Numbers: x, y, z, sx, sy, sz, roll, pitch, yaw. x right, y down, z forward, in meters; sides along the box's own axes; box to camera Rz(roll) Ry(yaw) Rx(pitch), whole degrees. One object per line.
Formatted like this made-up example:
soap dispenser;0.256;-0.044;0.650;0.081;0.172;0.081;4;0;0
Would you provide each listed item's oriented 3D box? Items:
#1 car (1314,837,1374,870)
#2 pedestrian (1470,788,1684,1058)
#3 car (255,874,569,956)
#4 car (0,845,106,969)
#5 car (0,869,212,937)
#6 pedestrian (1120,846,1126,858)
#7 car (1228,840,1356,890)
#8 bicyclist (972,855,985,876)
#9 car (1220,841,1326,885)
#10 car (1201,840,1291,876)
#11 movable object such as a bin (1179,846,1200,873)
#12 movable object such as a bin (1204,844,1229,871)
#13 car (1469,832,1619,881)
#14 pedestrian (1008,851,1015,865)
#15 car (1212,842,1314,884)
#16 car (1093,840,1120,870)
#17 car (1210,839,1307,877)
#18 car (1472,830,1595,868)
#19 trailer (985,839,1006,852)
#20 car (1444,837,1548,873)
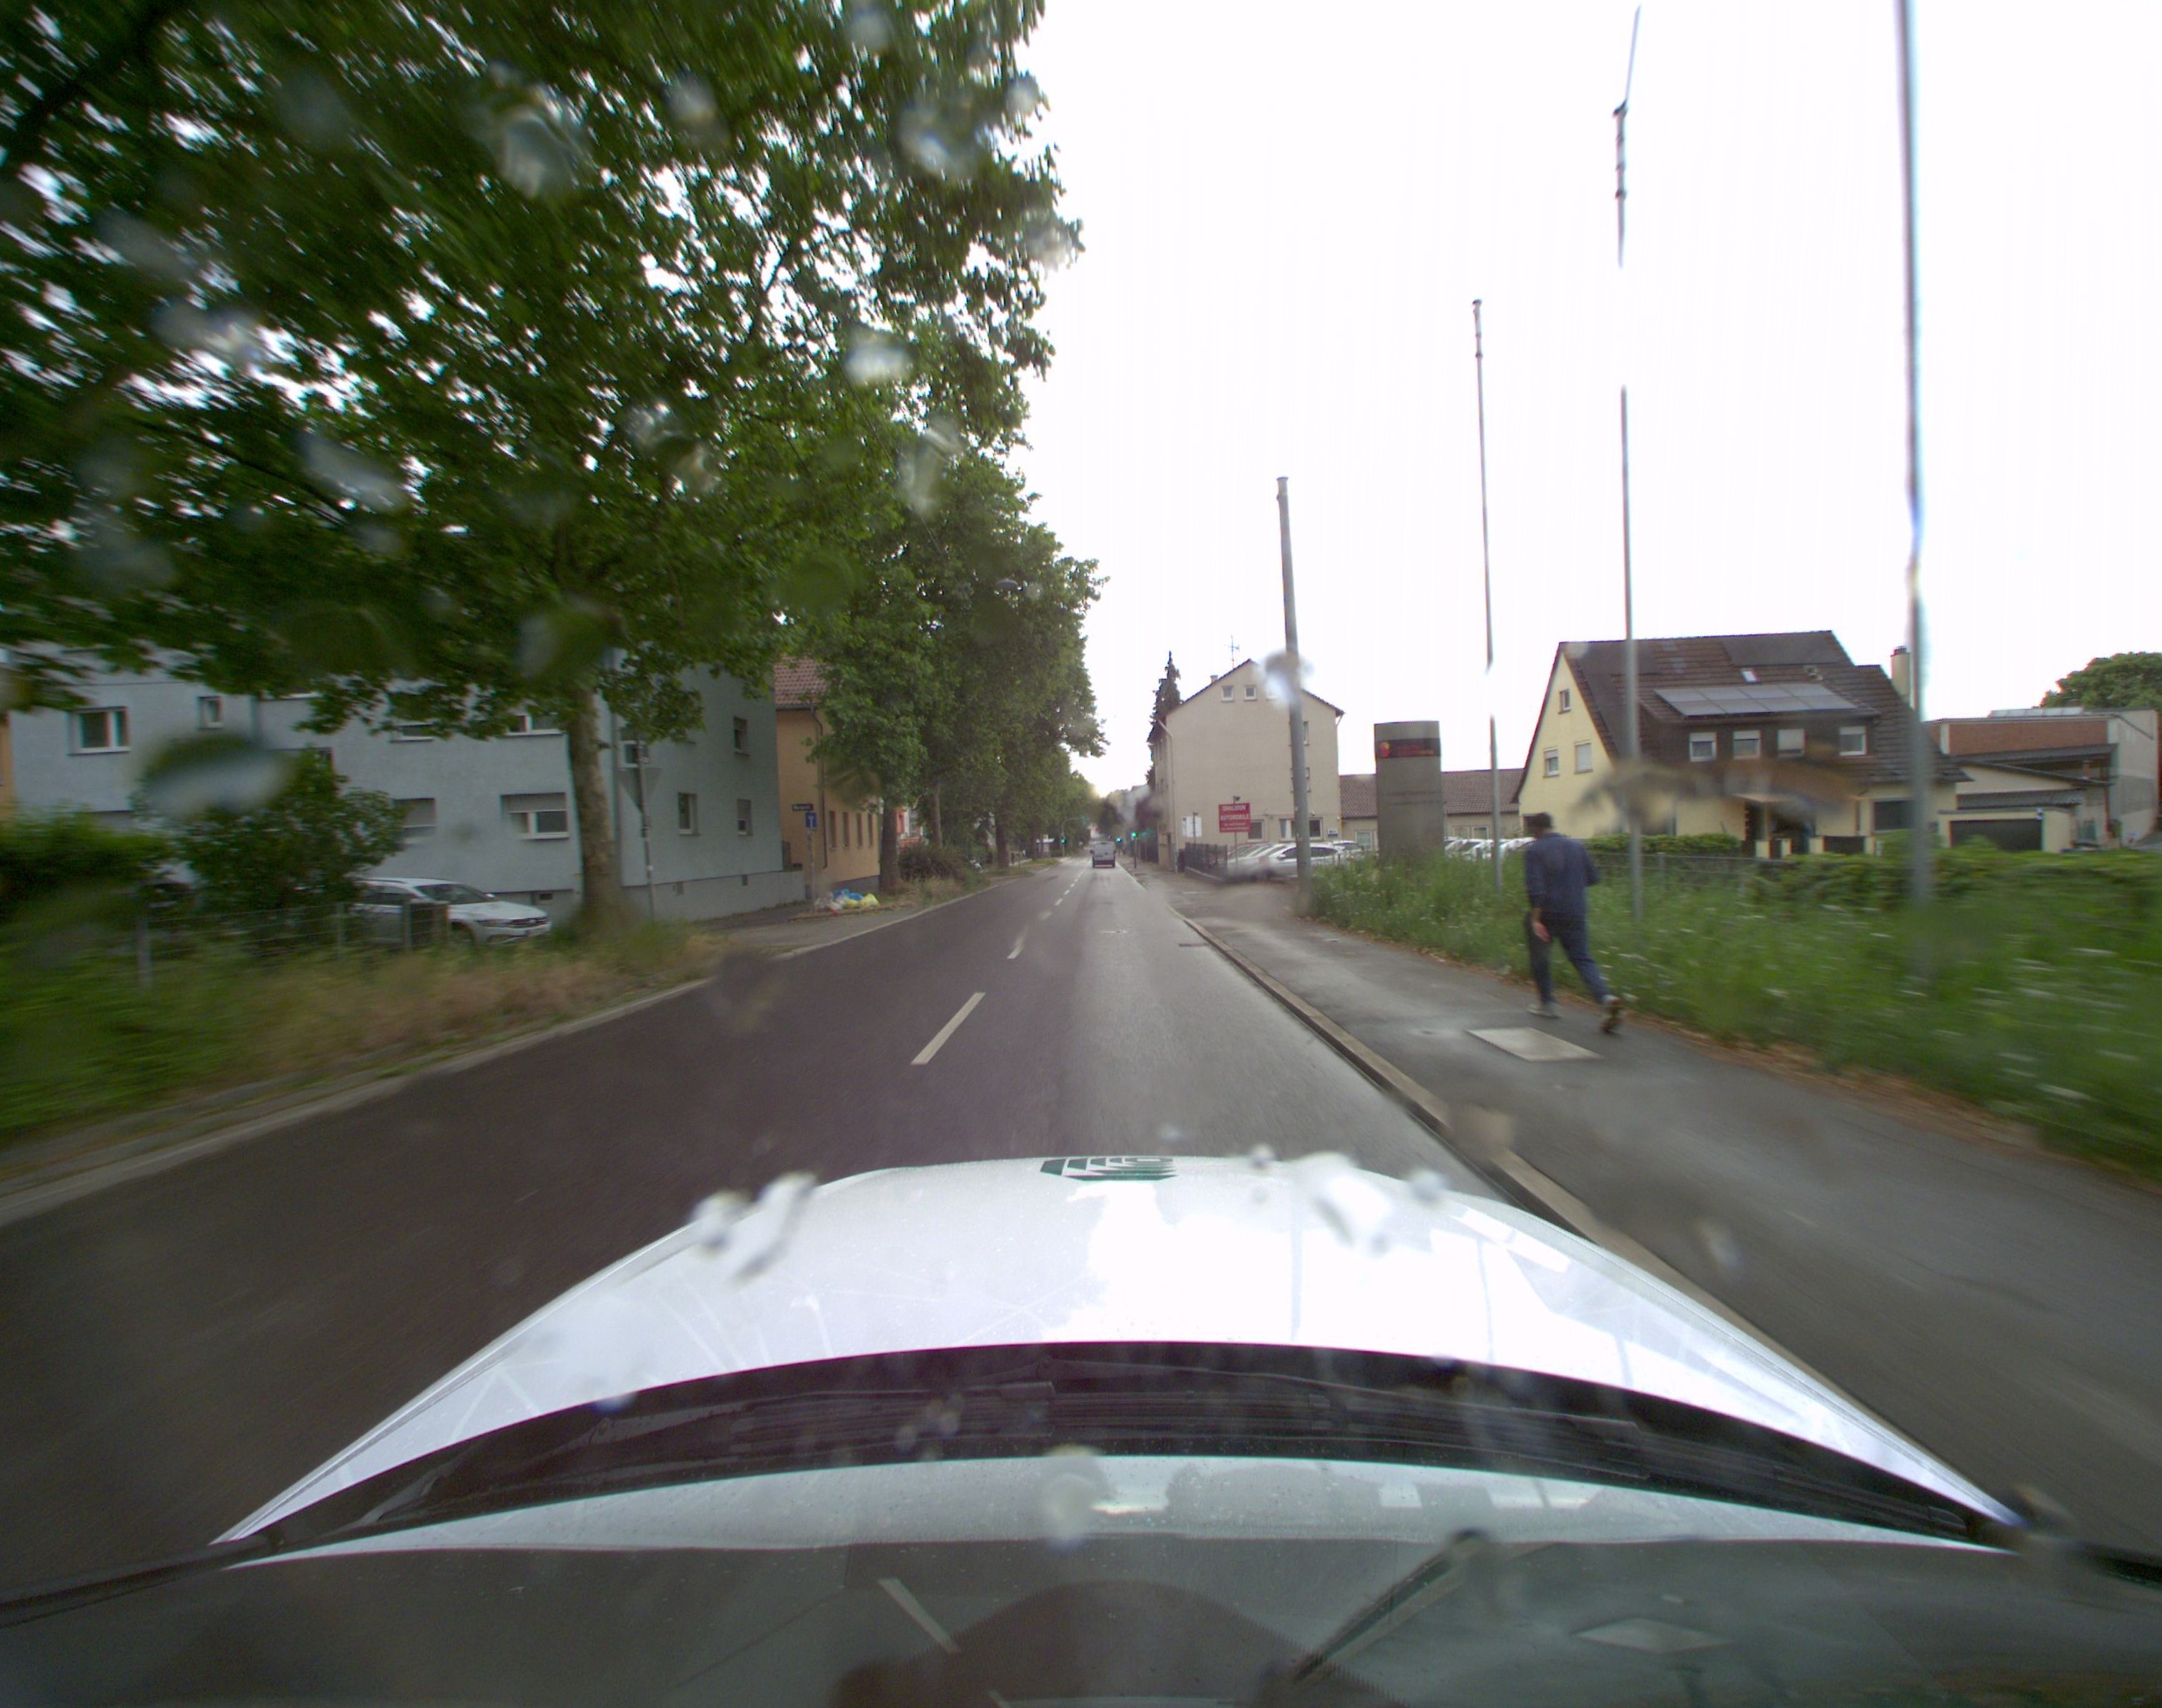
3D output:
car;12.792;0.021;39.872;1.802;1.530;3.628;0;-1;1
pedestrian;3.762;0.501;6.278;1.039;1.897;0.901;-2;-1;1
car;-13.065;1.159;16.129;4.646;1.477;1.870;0;-1;1
car;-17.801;0.816;11.681;1.875;1.920;4.560;0;-1;6
car;-23.340;1.134;19.546;3.148;1.461;1.618;0;2;1
pedestrian;6.313;-0.317;121.620;0.741;1.704;0.900;0;-1;-4
car;7.776;0.410;30.345;4.287;1.768;2.000;-1;-1;1
bicyclist;-7.544;0.844;59.948;0.830;1.553;0.817;0;-1;0
car;7.734;0.371;33.038;3.934;1.724;1.791;0;0;1
car;8.296;0.216;41.302;4.213;1.736;1.870;0;-1;1
movable object such as a bin;6.569;0.337;49.333;1.106;1.509;0.987;-4;-1;0
movable object such as a bin;8.169;0.230;49.184;1.230;1.509;1.111;-4;-1;0
car;17.159;0.077;30.343;4.487;1.626;1.870;-2;0;1
pedestrian;-8.086;0.453;94.455;0.753;1.611;0.834;0;-1;-3
car;7.918;0.398;35.675;4.052;1.736;1.870;0;-1;1
car;2.255;0.144;72.605;2.274;2.553;4.001;-2;-1;1
car;8.306;0.191;38.376;4.213;1.736;1.870;0;-1;1
car;18.539;-0.190;33.524;3.974;1.468;1.999;0;-1;-1
trailer;-11.566;-1.130;110.283;2.694;1.645;1.481;-1;0;2
car;18.438;0.041;36.280;3.754;1.532;1.757;0;0;-3
